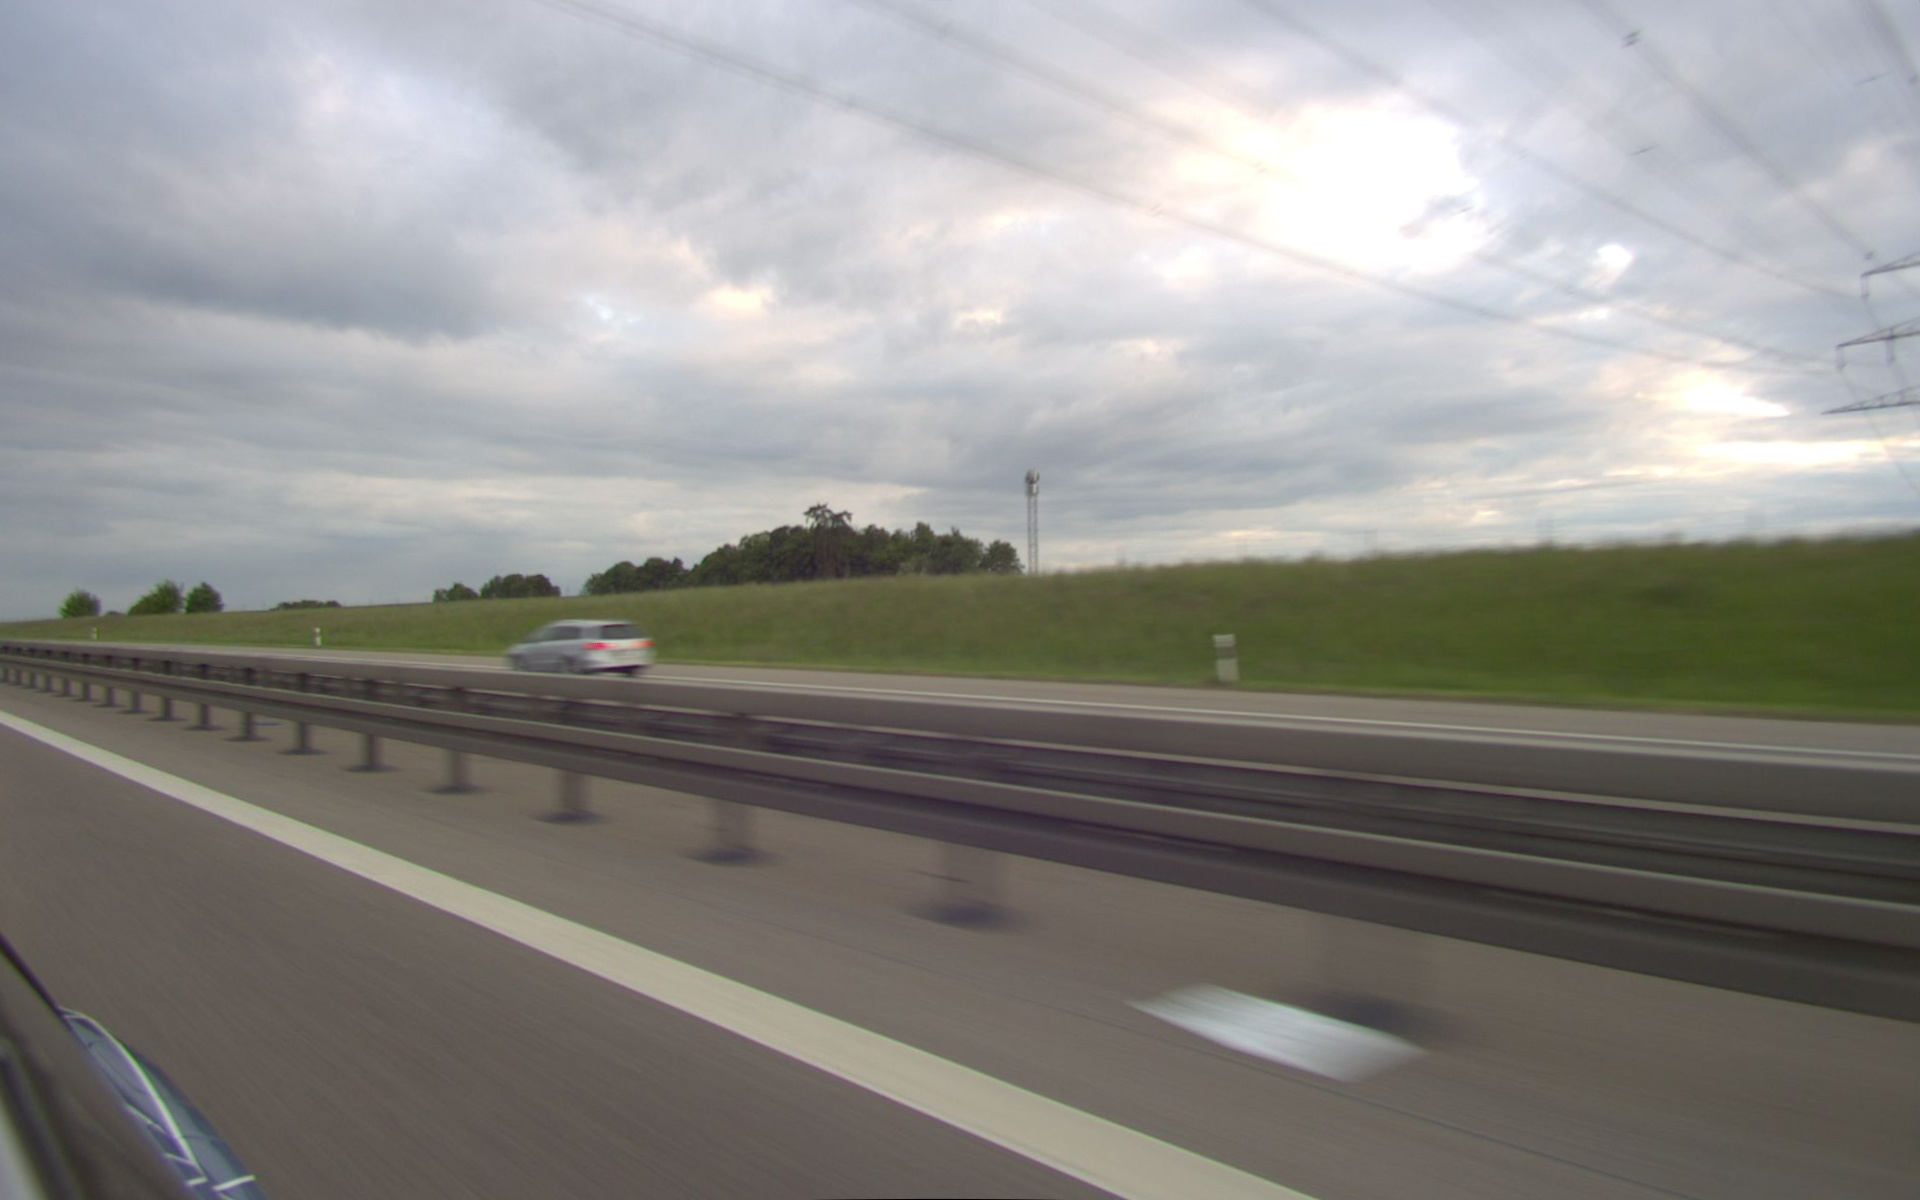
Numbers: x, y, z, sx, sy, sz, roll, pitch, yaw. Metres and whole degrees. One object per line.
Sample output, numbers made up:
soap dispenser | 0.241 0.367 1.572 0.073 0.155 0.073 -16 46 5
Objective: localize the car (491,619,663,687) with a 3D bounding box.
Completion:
car | -9.785 1.288 25.619 5.330 1.493 1.747 -1 0 41
